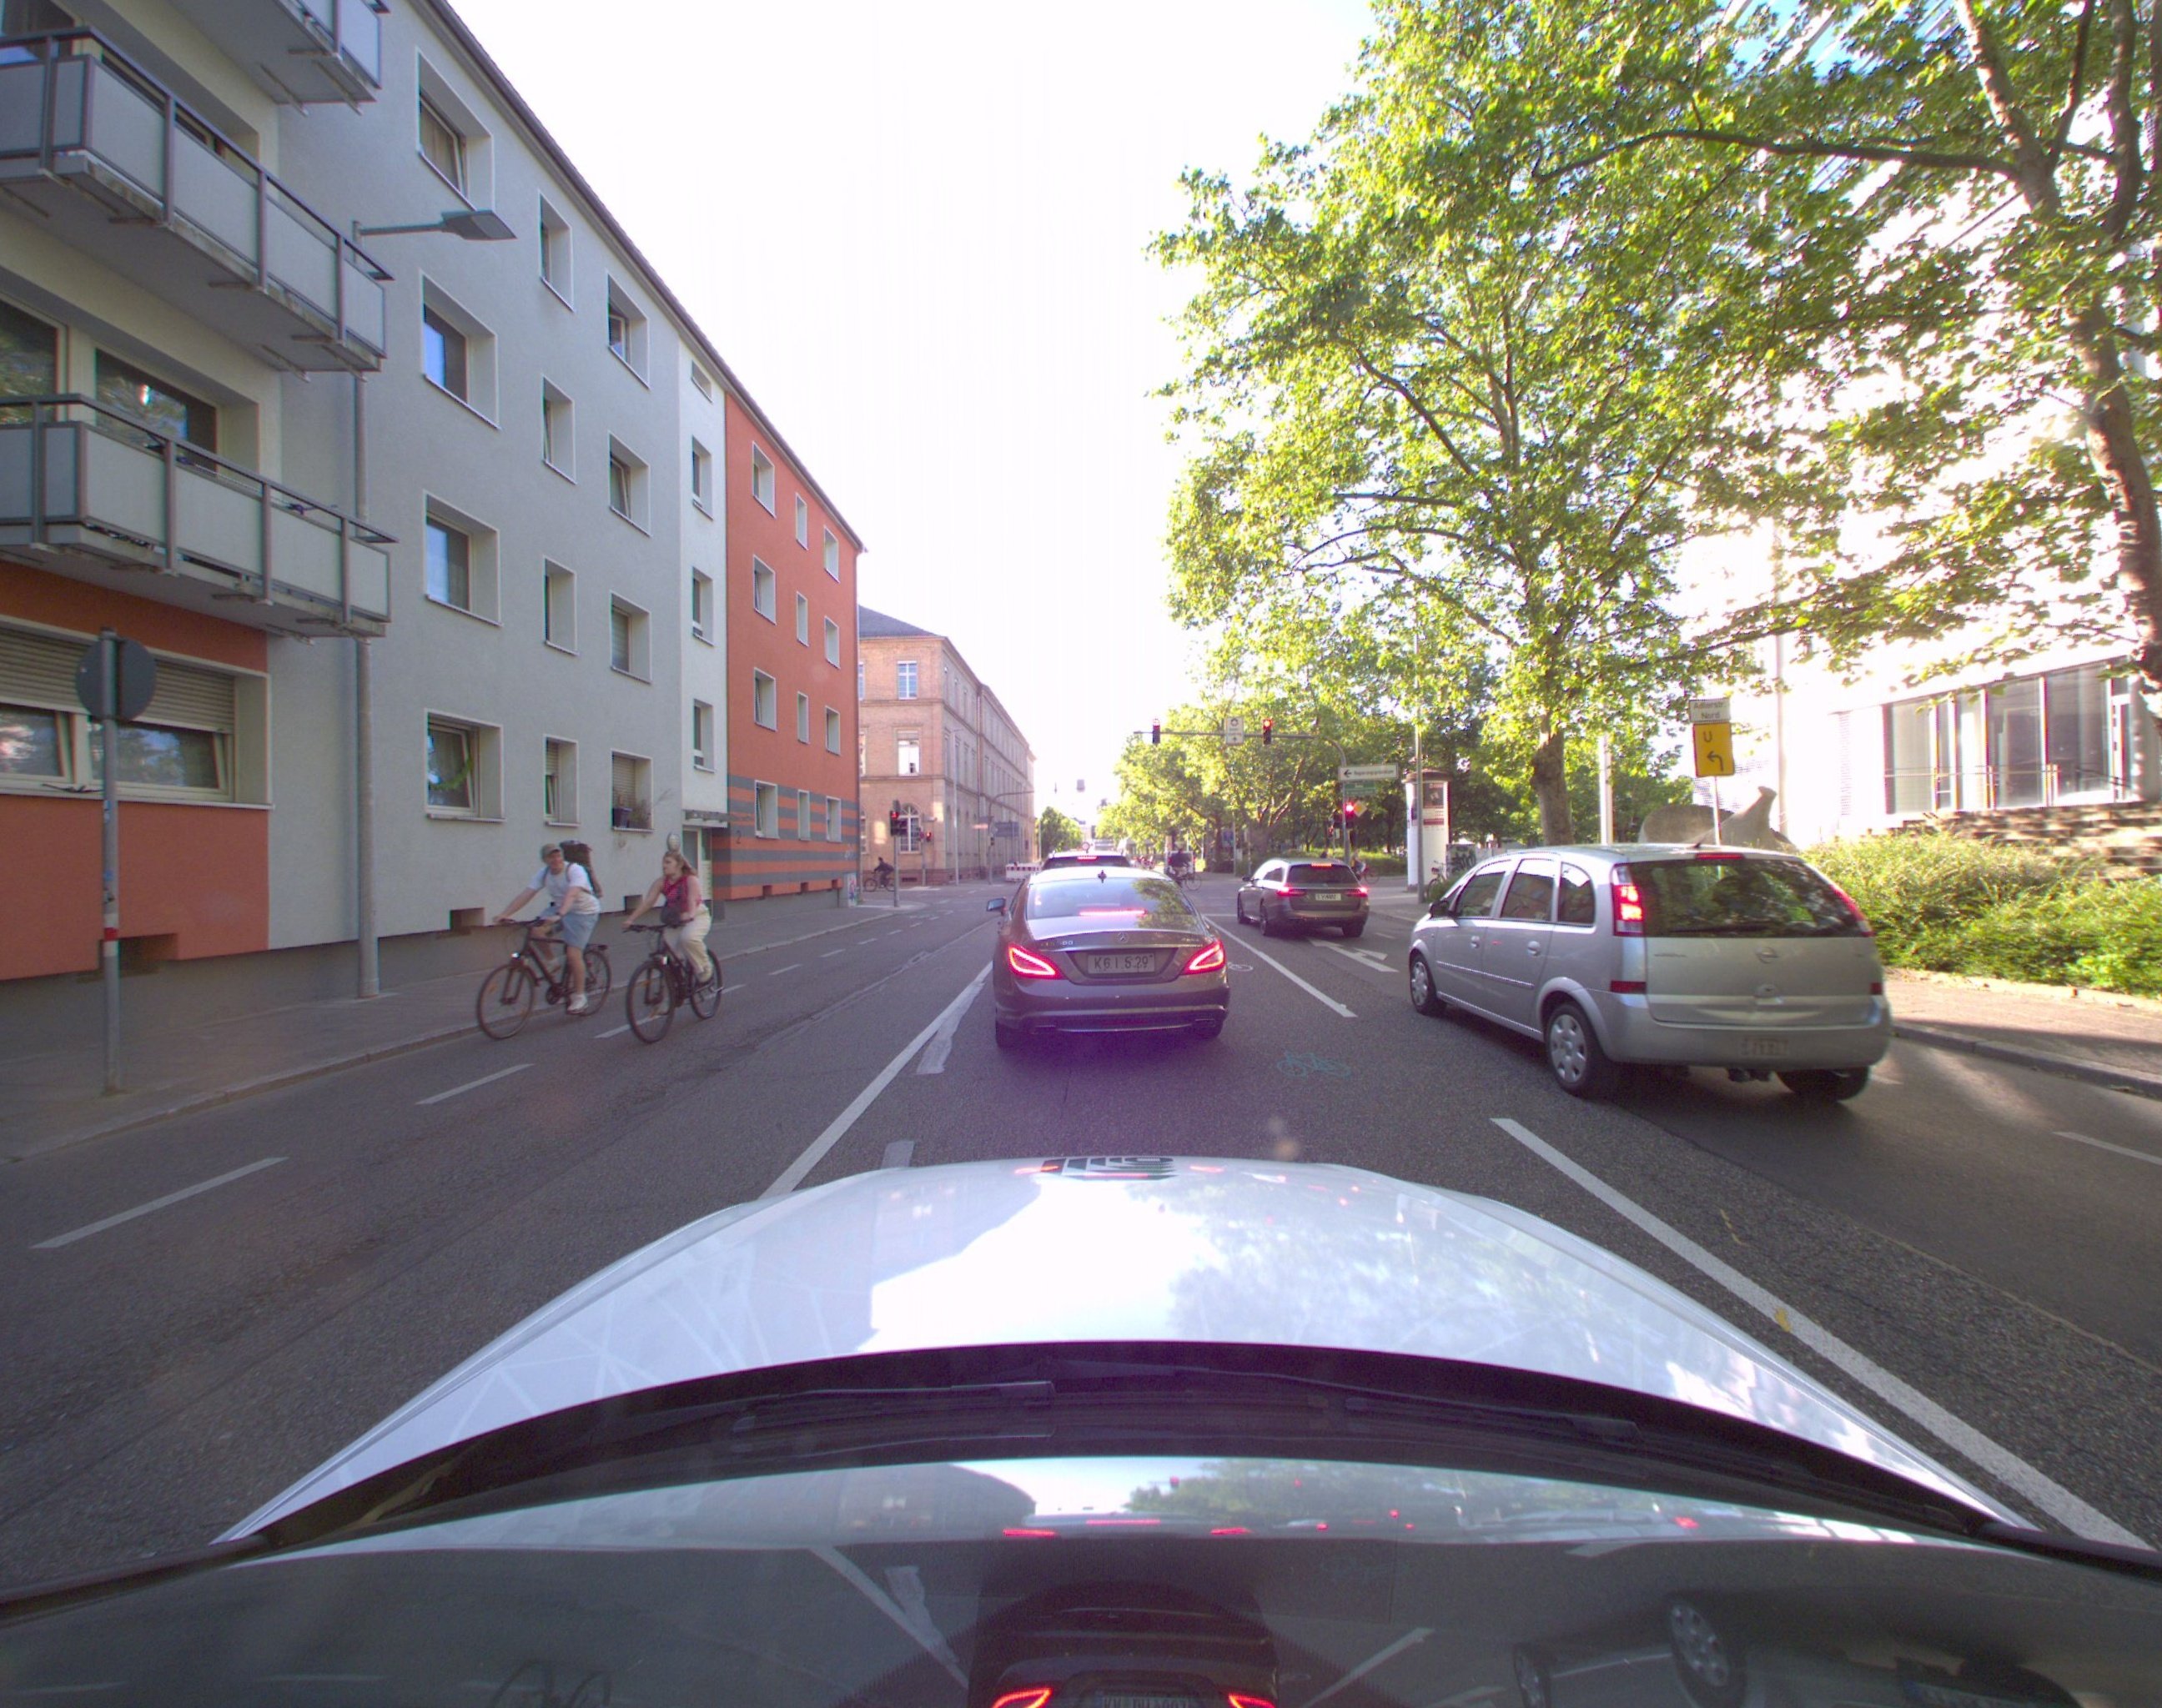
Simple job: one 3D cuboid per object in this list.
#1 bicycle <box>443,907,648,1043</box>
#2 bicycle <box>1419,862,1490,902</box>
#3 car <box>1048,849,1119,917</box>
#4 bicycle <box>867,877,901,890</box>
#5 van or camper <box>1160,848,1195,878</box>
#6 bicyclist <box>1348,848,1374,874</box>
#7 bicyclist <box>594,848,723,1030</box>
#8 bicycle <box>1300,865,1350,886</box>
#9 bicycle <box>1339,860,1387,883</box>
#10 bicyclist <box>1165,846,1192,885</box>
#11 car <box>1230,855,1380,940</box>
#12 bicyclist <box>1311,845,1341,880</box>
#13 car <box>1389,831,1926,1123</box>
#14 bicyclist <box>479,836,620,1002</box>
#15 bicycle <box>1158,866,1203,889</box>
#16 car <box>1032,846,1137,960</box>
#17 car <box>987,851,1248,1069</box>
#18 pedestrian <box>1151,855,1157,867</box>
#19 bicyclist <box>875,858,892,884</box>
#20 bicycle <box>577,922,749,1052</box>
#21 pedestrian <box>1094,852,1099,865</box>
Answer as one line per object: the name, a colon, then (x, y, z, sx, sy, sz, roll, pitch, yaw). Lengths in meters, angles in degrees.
bicycle: (-5.269, 1.142, 8.192, 0.860, 1.079, 1.835, -1, 0, -1)
bicycle: (10.787, 0.807, 23.555, 1.796, 1.097, 0.510, -1, 0, 4)
car: (0.128, 0.769, 23.382, 1.813, 1.762, 4.002, -1, 0, 2)
bicycle: (-9.973, 1.480, 41.213, 1.579, 0.635, 0.496, -1, 0, 5)
van or camper: (6.523, 0.623, 55.587, 1.986, 1.941, 4.596, -1, 0, 2)
bicyclist: (12.928, 0.324, 37.571, 0.987, 1.154, 0.621, -1, 0, 3)
bicyclist: (-3.911, 0.744, 7.615, 0.683, 1.578, 0.981, -1, 0, -1)
bicycle: (10.736, 0.942, 35.891, 1.979, 0.903, 0.734, -1, 0, 0)
bicycle: (12.986, 0.804, 37.567, 1.972, 1.027, 0.652, -1, 0, 3)
bicyclist: (4.118, 0.476, 34.446, 1.013, 1.642, 0.607, -1, 0, -4)
car: (4.340, 0.764, 16.568, 1.906, 1.464, 4.671, 0, 0, 2)
bicyclist: (10.785, 0.374, 35.905, 1.113, 1.490, 0.712, -1, 0, 1)
car: (3.919, 0.687, 6.451, 1.694, 1.603, 3.863, -1, 0, 4)
bicyclist: (-5.273, 0.611, 8.133, 0.840, 1.555, 0.839, -1, 0, -1)
bicycle: (4.216, 0.981, 34.446, 1.791, 0.946, 0.613, -1, 0, -5)
car: (0.052, 0.712, 13.777, 1.513, 1.647, 3.879, -1, 0, 0)
car: (0.075, 0.722, 7.773, 1.801, 1.456, 4.342, -1, 0, -5)
pedestrian: (8.649, 0.839, 96.955, 0.646, 1.433, 0.659, -1, 0, 1)
bicyclist: (-10.001, 0.866, 41.217, 0.701, 1.260, 0.458, -1, 0, 5)
bicycle: (-3.890, 1.194, 7.775, 0.691, 0.929, 1.862, -1, 0, -1)
pedestrian: (2.299, 0.648, 120.416, 0.718, 1.902, 0.704, -1, 0, 1)
